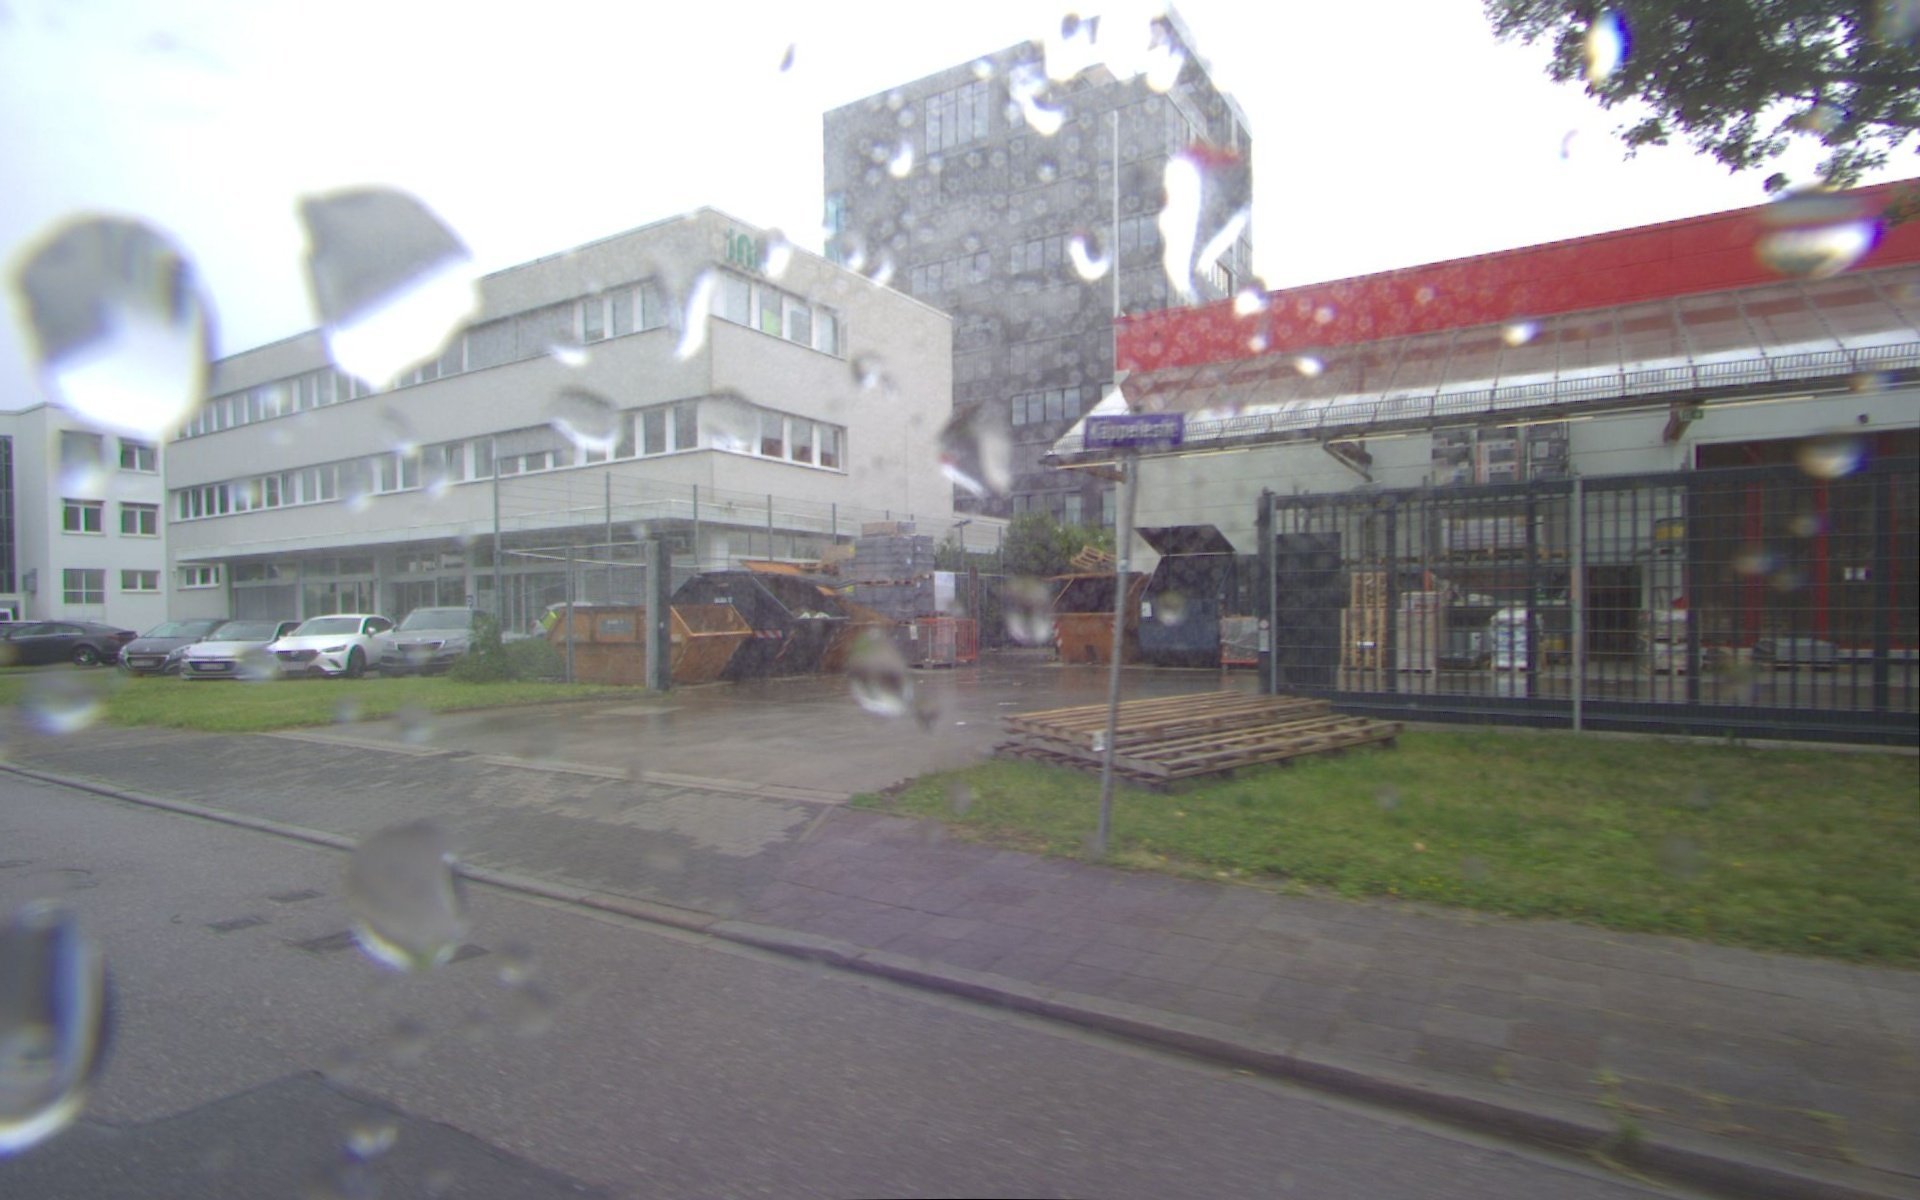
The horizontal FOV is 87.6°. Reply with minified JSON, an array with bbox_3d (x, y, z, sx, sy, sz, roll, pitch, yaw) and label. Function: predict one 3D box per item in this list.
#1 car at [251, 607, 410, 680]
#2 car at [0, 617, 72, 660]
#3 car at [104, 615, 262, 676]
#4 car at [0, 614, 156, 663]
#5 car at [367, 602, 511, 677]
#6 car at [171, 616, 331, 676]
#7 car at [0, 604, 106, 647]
[{"bbox_3d":[-14.179,0.920,22.836,1.742,1.489,3.997,0,0,-11],"label":"car"},{"bbox_3d":[-34.607,1.338,35.884,3.715,1.414,1.724,3,-1,-17],"label":"car"},{"bbox_3d":[-19.774,1.115,25.698,1.675,1.411,3.765,0,0,-11],"label":"car"},{"bbox_3d":[-29.111,1.226,32.282,4.595,1.487,1.787,0,0,-19],"label":"car"},{"bbox_3d":[-11.654,0.833,22.693,1.838,1.547,3.996,0,0,-12],"label":"car"},{"bbox_3d":[-17.053,1.049,24.322,1.675,1.303,3.997,0,0,-11],"label":"car"},{"bbox_3d":[-45.984,1.256,48.732,1.970,2.039,6.449,-1,-2,28],"label":"car"}]
